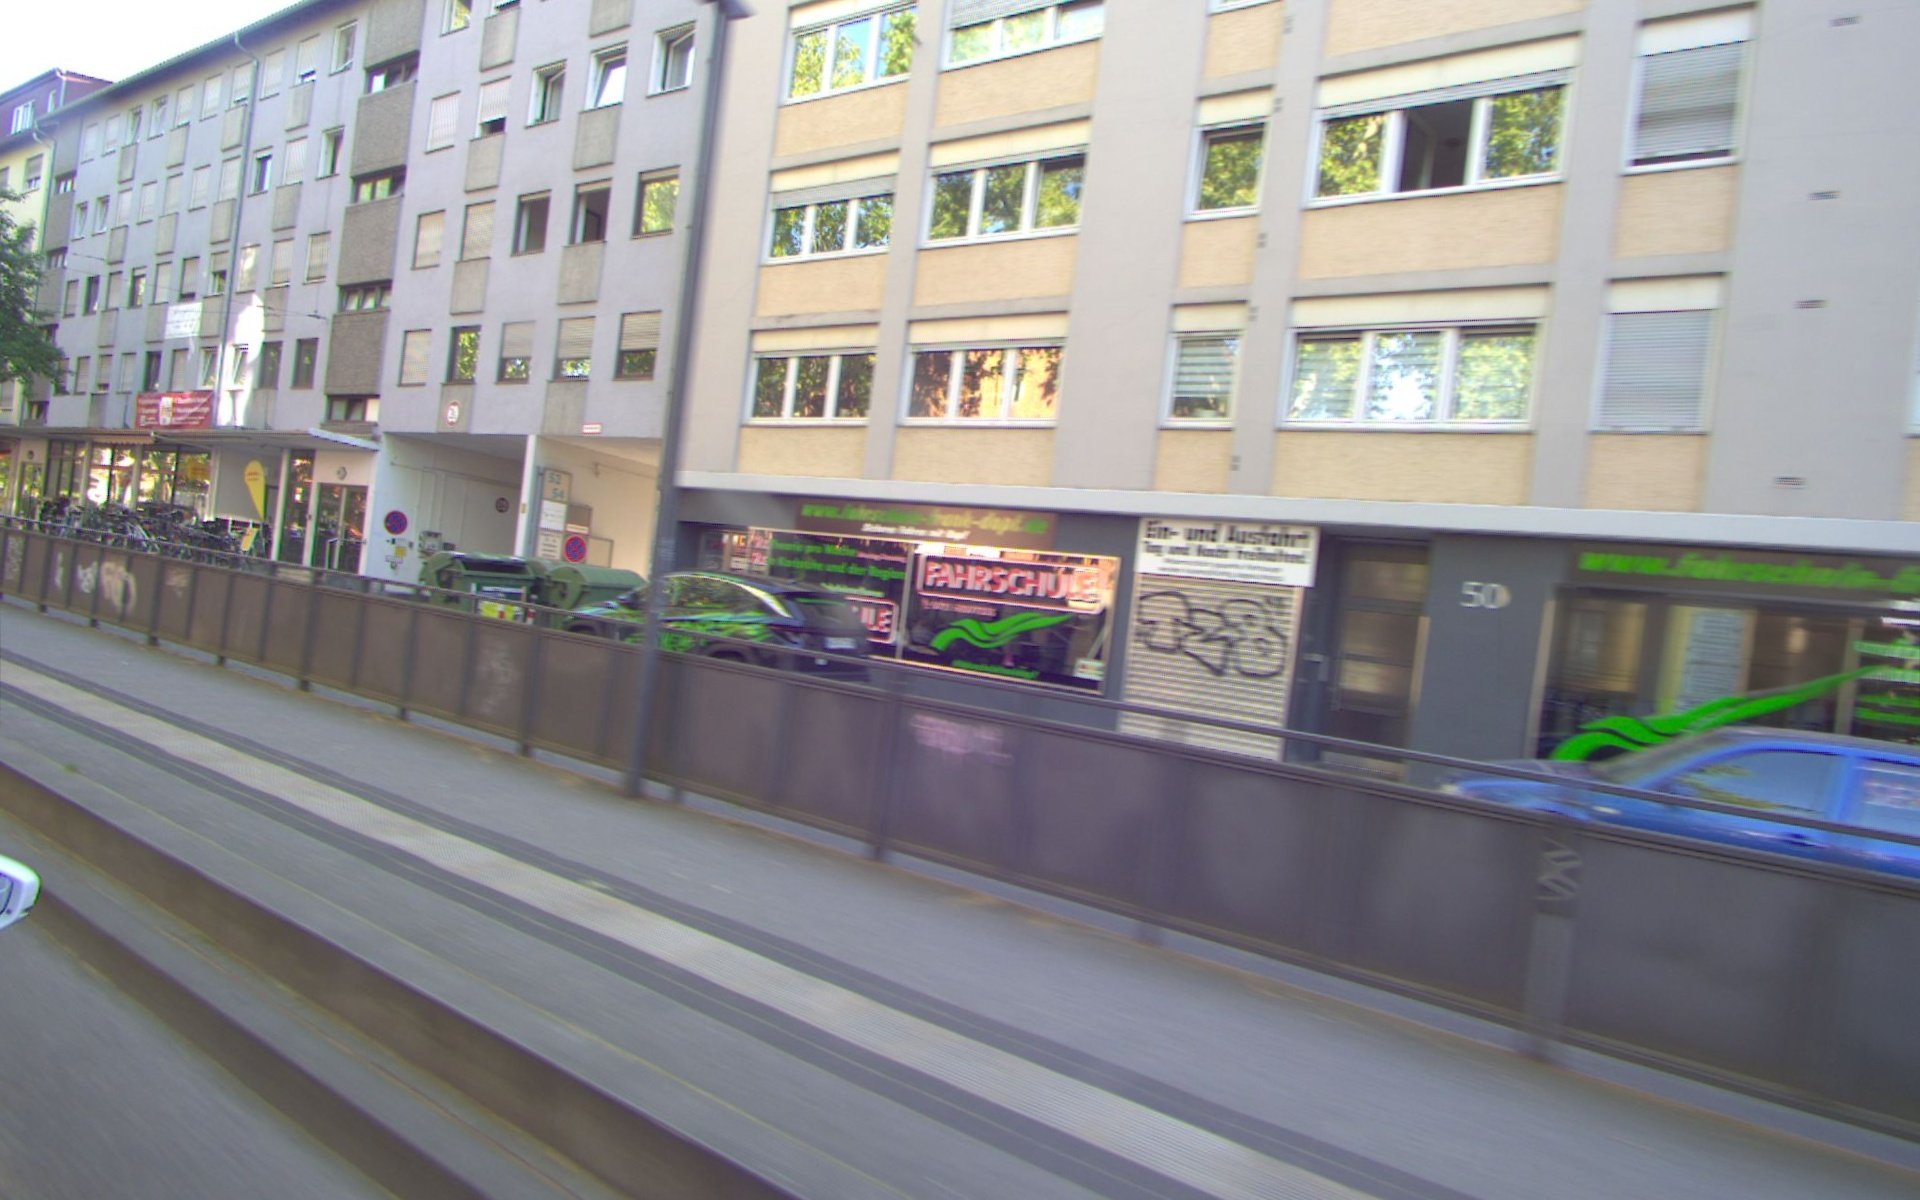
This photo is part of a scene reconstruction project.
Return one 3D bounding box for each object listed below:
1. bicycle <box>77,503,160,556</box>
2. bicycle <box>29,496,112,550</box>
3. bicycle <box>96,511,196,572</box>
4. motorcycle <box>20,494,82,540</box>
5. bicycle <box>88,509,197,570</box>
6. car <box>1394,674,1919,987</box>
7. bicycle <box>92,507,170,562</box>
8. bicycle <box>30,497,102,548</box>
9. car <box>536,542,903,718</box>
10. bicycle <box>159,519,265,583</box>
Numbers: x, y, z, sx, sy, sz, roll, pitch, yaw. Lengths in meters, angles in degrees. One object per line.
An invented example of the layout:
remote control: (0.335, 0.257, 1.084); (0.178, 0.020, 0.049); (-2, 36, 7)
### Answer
bicycle: (-22.264, -1.870, 26.610); (2.163, 1.149, 0.599); (7, -1, 21)
bicycle: (-23.467, -2.033, 26.528); (2.163, 1.149, 0.599); (7, -1, 21)
bicycle: (-19.155, -1.384, 23.669); (2.389, 1.149, 0.604); (7, -1, 21)
motorcycle: (-30.222, -2.768, 33.433); (2.009, 1.295, 0.893); (6, -1, 32)
bicycle: (-20.069, -1.491, 24.669); (2.867, 1.149, 0.613); (7, -1, 21)
car: (5.468, 1.540, 7.000); (4.177, 1.457, 1.747); (6, -2, 32)
bicycle: (-21.173, -1.679, 25.673); (2.163, 1.149, 0.411); (7, -1, 21)
bicycle: (-24.521, -2.133, 27.587); (2.165, 1.149, 0.599); (7, -1, 26)
car: (-3.094, 0.348, 12.687); (4.325, 1.634, 1.860); (6, -2, 32)
bicycle: (-16.926, -1.107, 22.760); (2.394, 1.149, 0.623); (7, -1, 21)
